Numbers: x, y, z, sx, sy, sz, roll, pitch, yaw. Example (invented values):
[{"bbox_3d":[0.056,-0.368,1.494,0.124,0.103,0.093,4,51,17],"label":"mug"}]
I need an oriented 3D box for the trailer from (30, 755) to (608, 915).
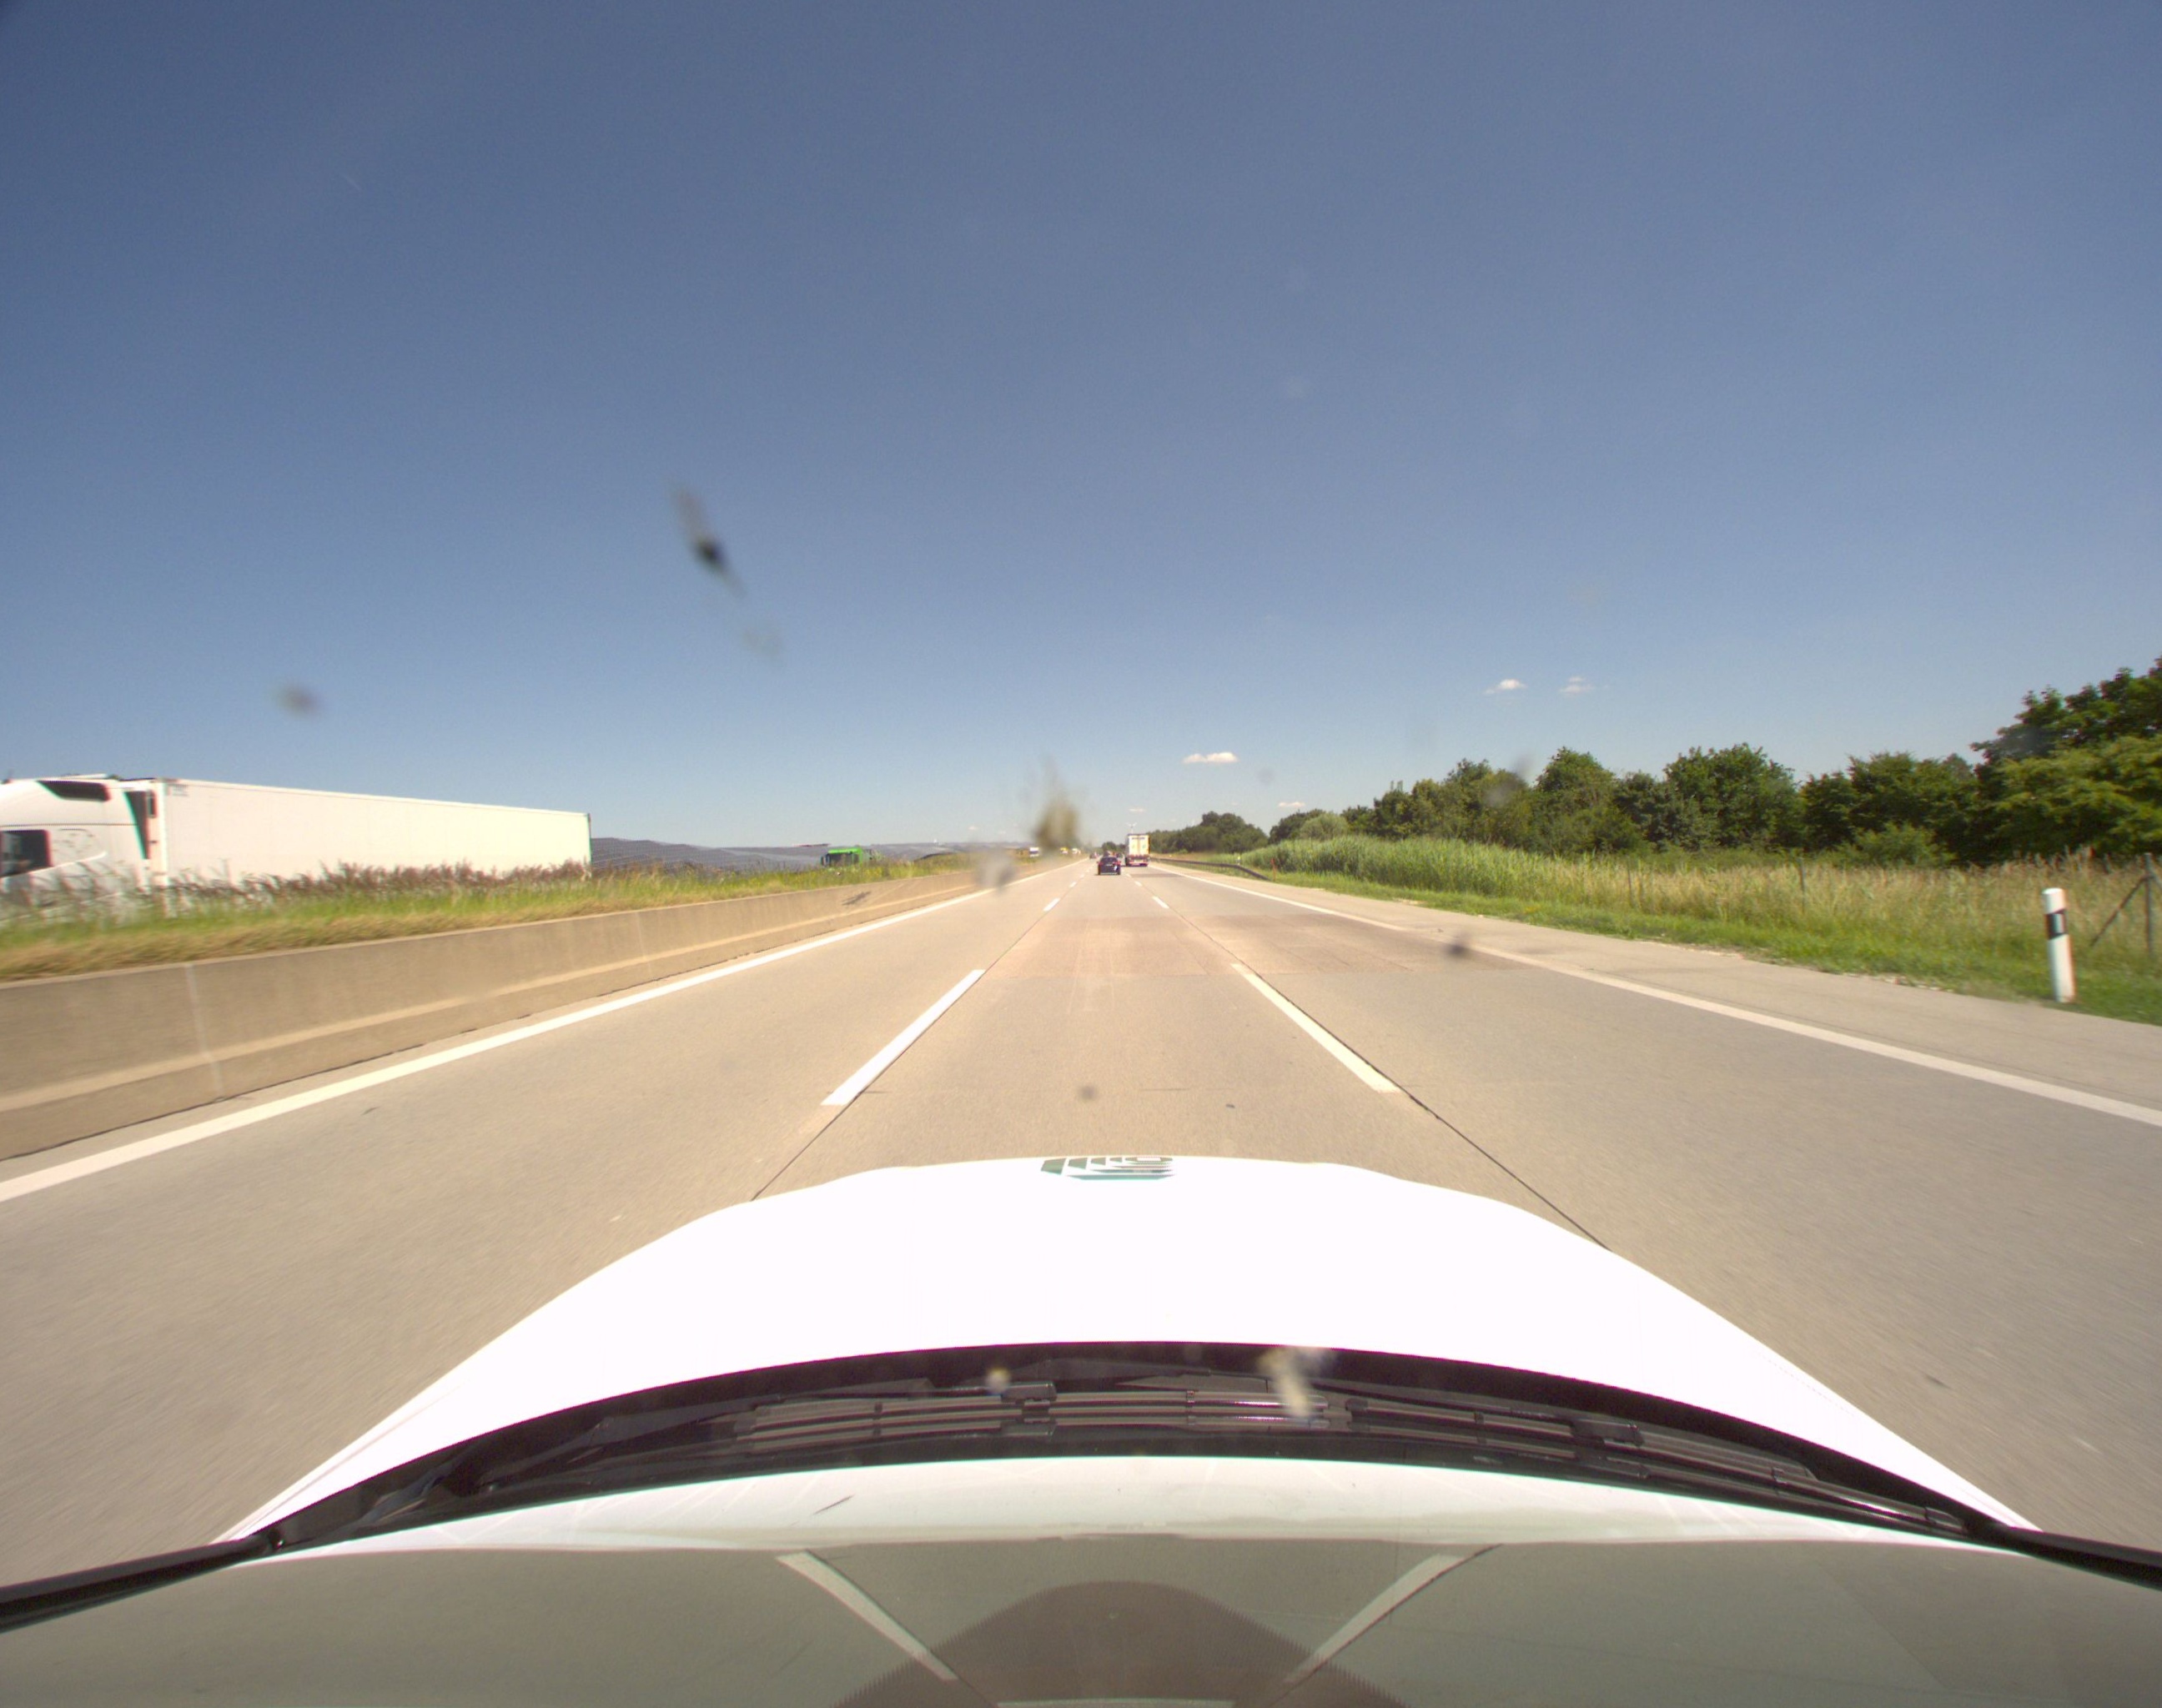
[{"bbox_3d":[-19.527,-0.317,23.616,2.822,3.183,14.509,-1,-1,1],"label":"trailer"}]

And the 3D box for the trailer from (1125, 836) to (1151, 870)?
[{"bbox_3d":[7.223,-0.081,104.417,2.841,4.042,12.720,0,0,2],"label":"trailer"}]

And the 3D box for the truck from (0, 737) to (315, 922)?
[{"bbox_3d":[-19.713,-0.385,16.451,2.822,3.157,5.829,0,-1,2],"label":"truck"}]

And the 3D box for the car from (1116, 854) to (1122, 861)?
[{"bbox_3d":[11.169,0.996,239.427,1.819,1.907,4.004,-1,0,3],"label":"car"}]

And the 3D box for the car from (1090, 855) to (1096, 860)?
[{"bbox_3d":[3.309,0.954,227.002,1.649,1.196,3.961,2,0,2],"label":"car"}]

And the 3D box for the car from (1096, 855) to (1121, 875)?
[{"bbox_3d":[2.113,0.805,63.647,1.903,1.492,4.193,0,0,1],"label":"car"}]

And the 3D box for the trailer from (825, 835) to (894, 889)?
[{"bbox_3d":[-18.668,0.647,69.495,2.722,4.191,10.261,-1,0,2],"label":"trailer"}]

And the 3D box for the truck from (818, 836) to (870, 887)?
[{"bbox_3d":[-18.838,0.607,65.060,2.735,3.951,4.354,0,0,2],"label":"truck"}]
